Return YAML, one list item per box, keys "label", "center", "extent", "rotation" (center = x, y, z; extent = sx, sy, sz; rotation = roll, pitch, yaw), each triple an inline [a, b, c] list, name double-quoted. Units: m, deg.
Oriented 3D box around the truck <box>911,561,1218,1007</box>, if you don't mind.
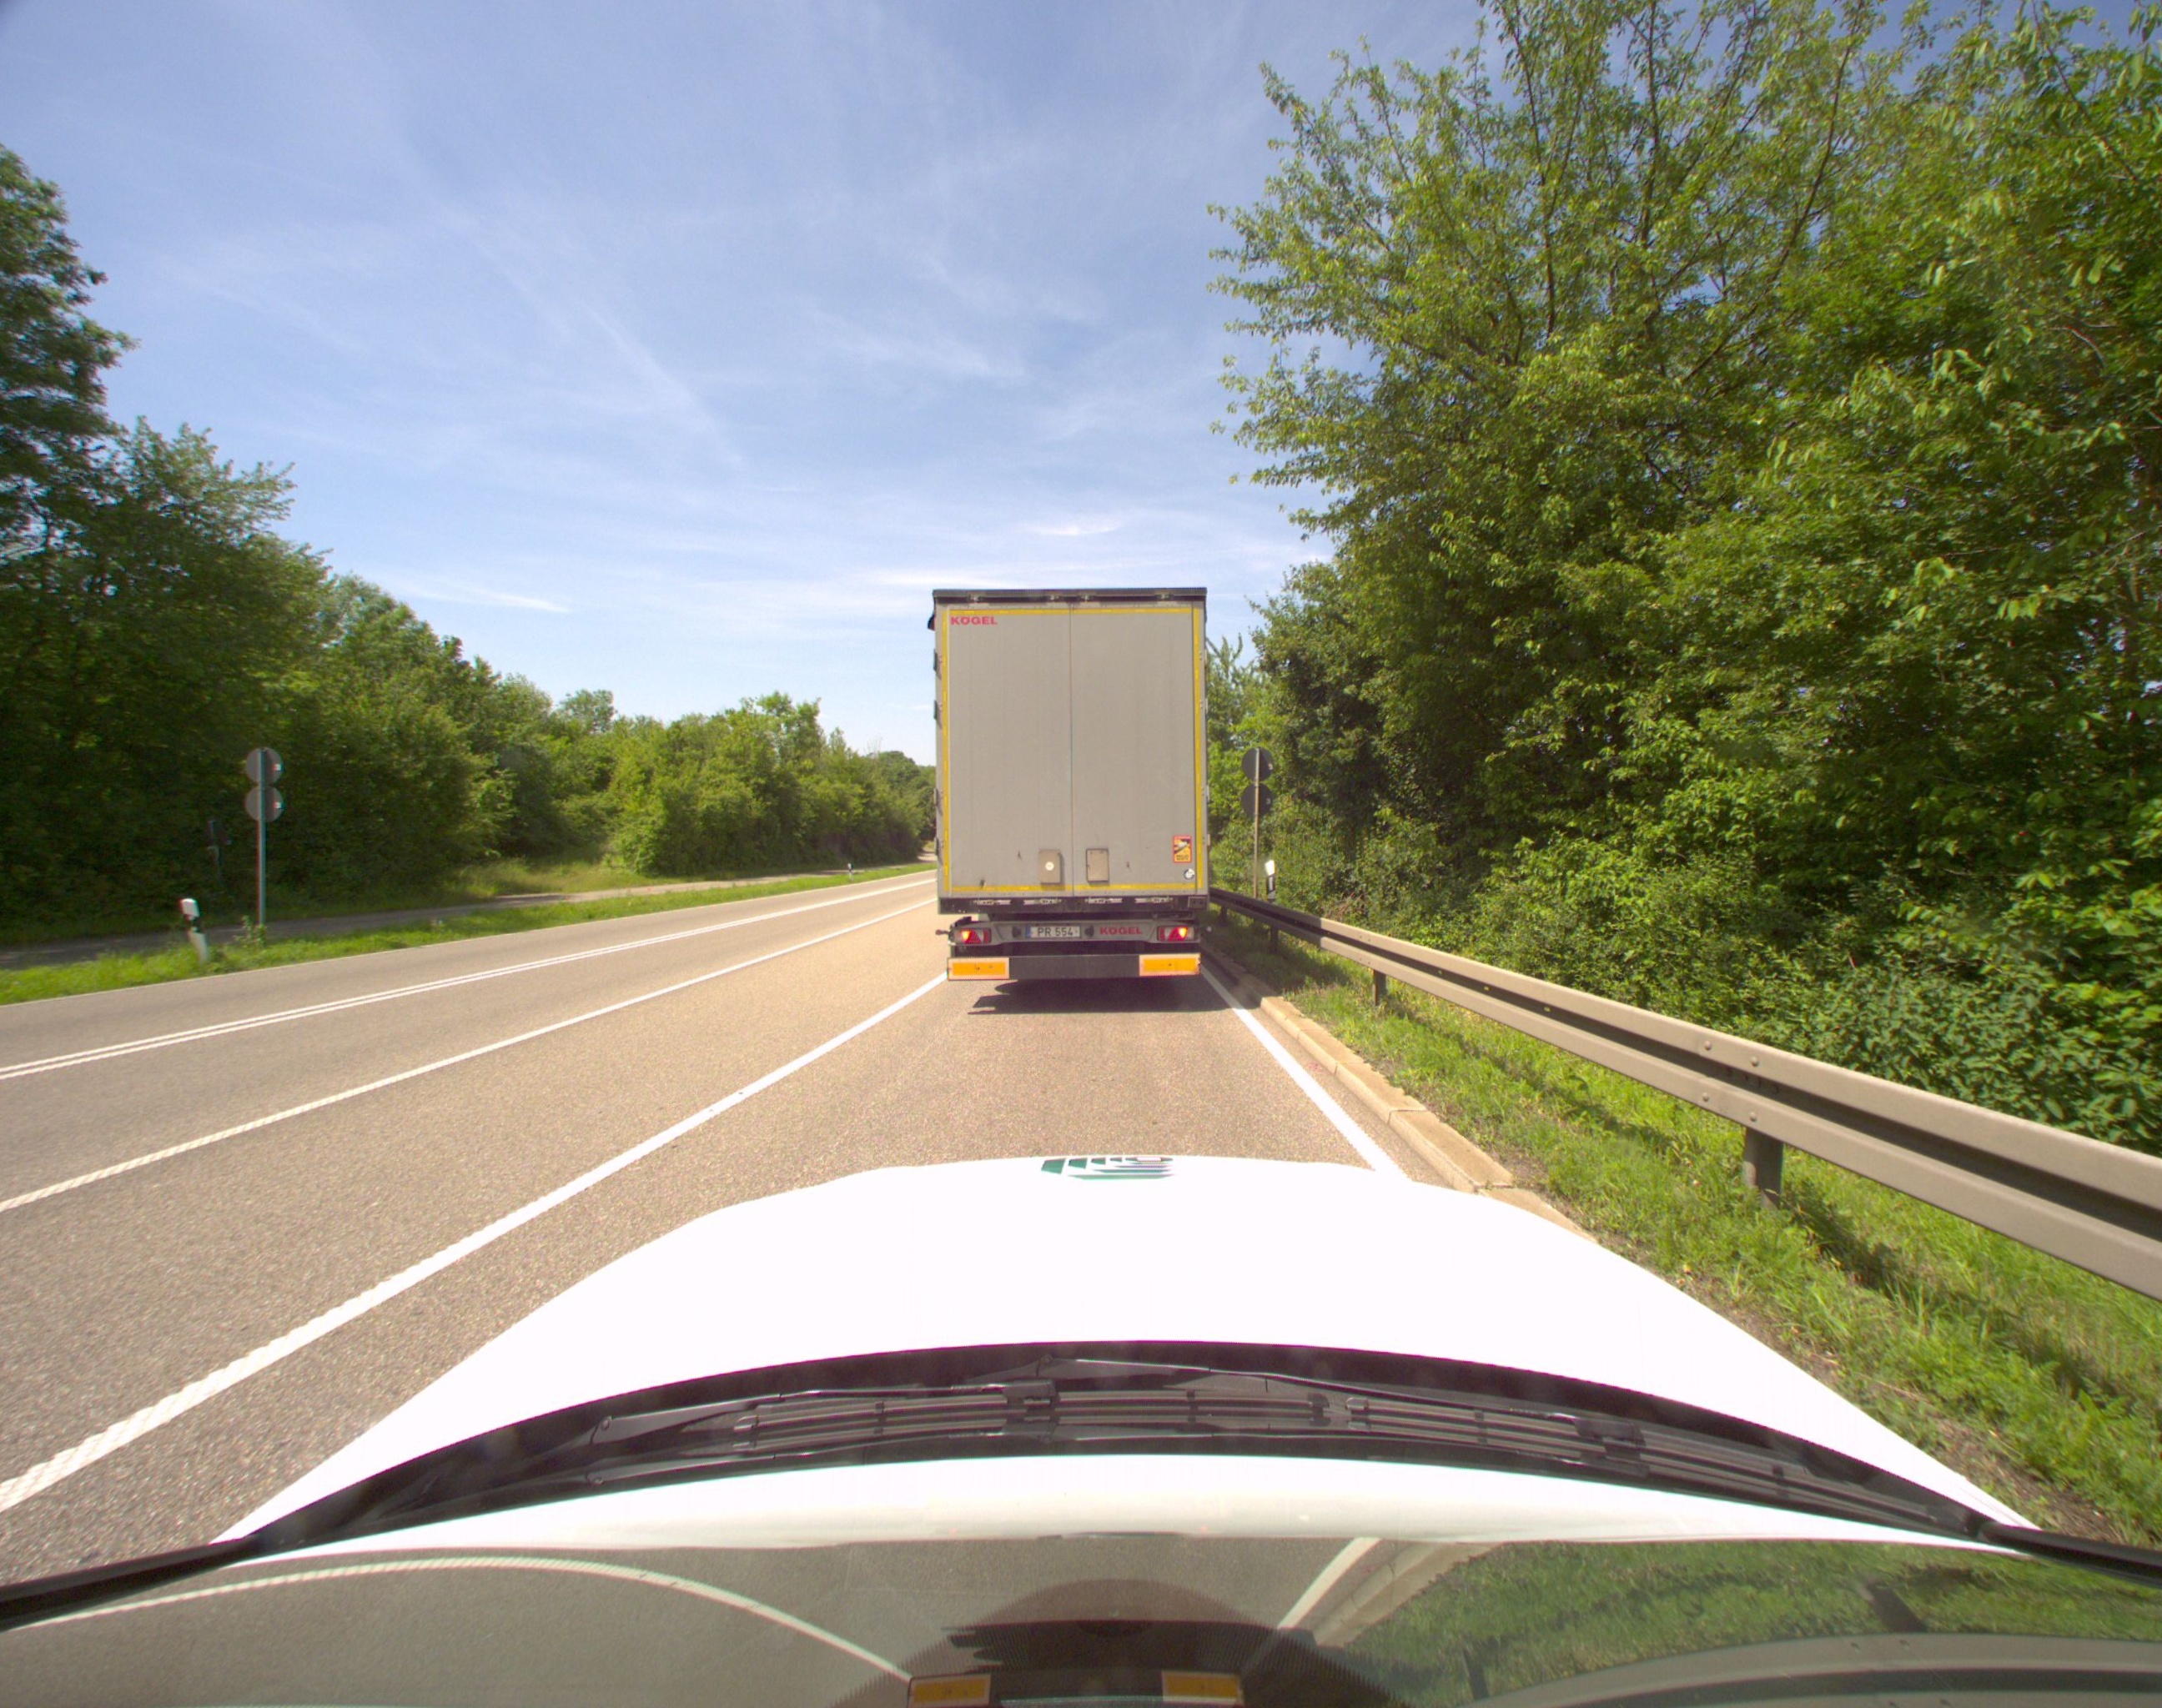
- label: "truck"
  center: [-0.027, -0.662, 13.387]
  extent: [2.747, 4.029, 11.926]
  rotation: [-1, 0, 1]
